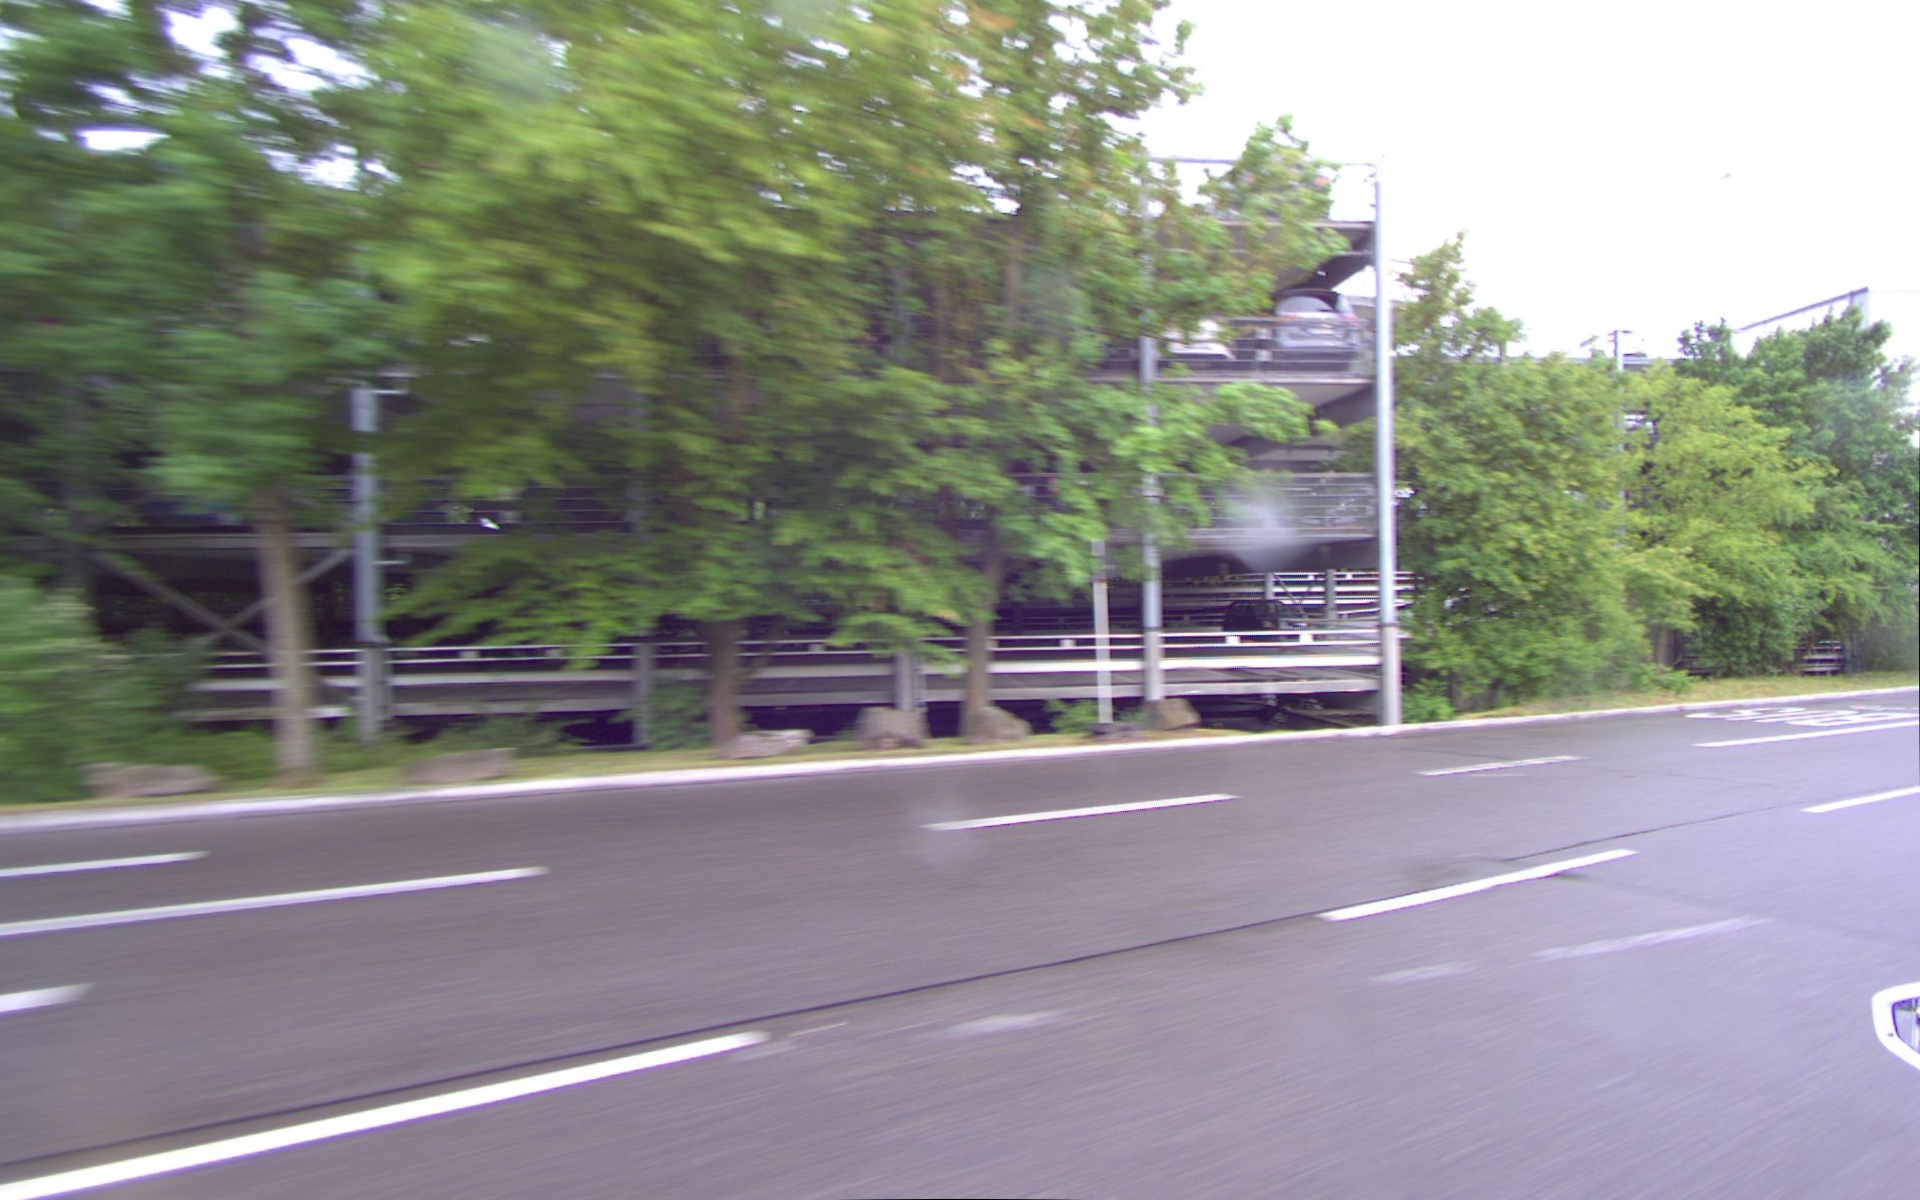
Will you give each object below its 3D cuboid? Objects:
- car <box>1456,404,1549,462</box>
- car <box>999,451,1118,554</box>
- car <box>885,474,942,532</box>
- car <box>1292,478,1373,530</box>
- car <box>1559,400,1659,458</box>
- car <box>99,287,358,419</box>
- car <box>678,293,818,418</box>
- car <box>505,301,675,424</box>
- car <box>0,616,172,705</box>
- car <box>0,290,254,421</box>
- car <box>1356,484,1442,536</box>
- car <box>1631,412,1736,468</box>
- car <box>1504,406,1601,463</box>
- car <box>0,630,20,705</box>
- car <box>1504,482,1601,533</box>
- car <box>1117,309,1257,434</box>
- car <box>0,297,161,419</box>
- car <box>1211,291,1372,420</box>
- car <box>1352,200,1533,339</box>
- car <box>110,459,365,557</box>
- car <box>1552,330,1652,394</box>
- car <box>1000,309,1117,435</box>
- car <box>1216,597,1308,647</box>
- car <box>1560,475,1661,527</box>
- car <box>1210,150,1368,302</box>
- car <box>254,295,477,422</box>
[{"bbox_3d":[20.951,-6.425,38.904,1.557,1.539,3.241,0,-2,-8],"label":"car"},{"bbox_3d":[1.910,-1.902,20.612,1.961,1.539,4.000,0,-2,-1],"label":"car"},{"bbox_3d":[-1.734,-3.505,36.869,1.962,1.539,3.999,0,-2,-4],"label":"car"},{"bbox_3d":[14.216,-3.631,38.506,1.557,1.539,3.241,0,-2,-8],"label":"car"},{"bbox_3d":[25.277,-6.618,39.233,1.557,1.539,3.241,0,-2,-8],"label":"car"},{"bbox_3d":[-13.439,-4.490,18.820,1.961,1.539,3.999,0,1,-1],"label":"car"},{"bbox_3d":[-4.008,-4.655,19.648,1.961,1.539,3.999,0,1,-1],"label":"car"},{"bbox_3d":[-7.163,-4.588,19.913,1.961,1.539,3.999,0,1,-1],"label":"car"},{"bbox_3d":[-17.683,1.133,19.301,1.961,1.539,4.000,0,-2,-1],"label":"car"},{"bbox_3d":[-15.684,-4.480,18.923,1.961,1.539,3.999,0,1,-1],"label":"car"},{"bbox_3d":[16.690,-3.382,38.338,1.557,1.539,3.241,0,-2,-8],"label":"car"},{"bbox_3d":[28.585,-6.303,39.805,1.557,1.539,3.241,0,-2,-8],"label":"car"},{"bbox_3d":[22.975,-6.385,39.078,1.557,1.539,3.241,0,-2,-8],"label":"car"},{"bbox_3d":[-20.518,1.309,18.895,1.961,1.539,4.000,0,-2,-3],"label":"car"},{"bbox_3d":[22.959,-3.554,39.029,1.557,1.539,3.241,0,-2,-8],"label":"car"},{"bbox_3d":[4.631,-4.675,21.105,1.961,1.539,4.000,0,-2,-1],"label":"car"},{"bbox_3d":[-17.725,-4.535,19.050,1.961,1.539,3.999,0,1,-1],"label":"car"},{"bbox_3d":[6.766,-4.975,20.974,1.961,1.539,4.000,0,-2,-1],"label":"car"},{"bbox_3d":[10.401,-7.105,22.008,1.961,1.539,4.000,0,-2,-1],"label":"car"},{"bbox_3d":[-13.350,-1.628,18.923,1.961,1.539,3.999,0,1,-1],"label":"car"},{"bbox_3d":[25.090,-9.272,39.379,1.557,1.539,3.241,0,-2,-8],"label":"car"},{"bbox_3d":[1.929,-4.615,20.892,1.961,1.539,4.000,0,-2,-1],"label":"car"},{"bbox_3d":[9.684,0.725,32.439,1.557,1.539,3.470,0,-1,-8],"label":"car"},{"bbox_3d":[25.284,-3.800,39.147,1.557,1.539,3.241,0,-2,-8],"label":"car"},{"bbox_3d":[6.786,-7.748,21.199,1.961,1.539,4.000,0,-2,-1],"label":"car"},{"bbox_3d":[-11.231,-4.525,19.353,1.961,1.539,3.999,0,1,-1],"label":"car"}]
